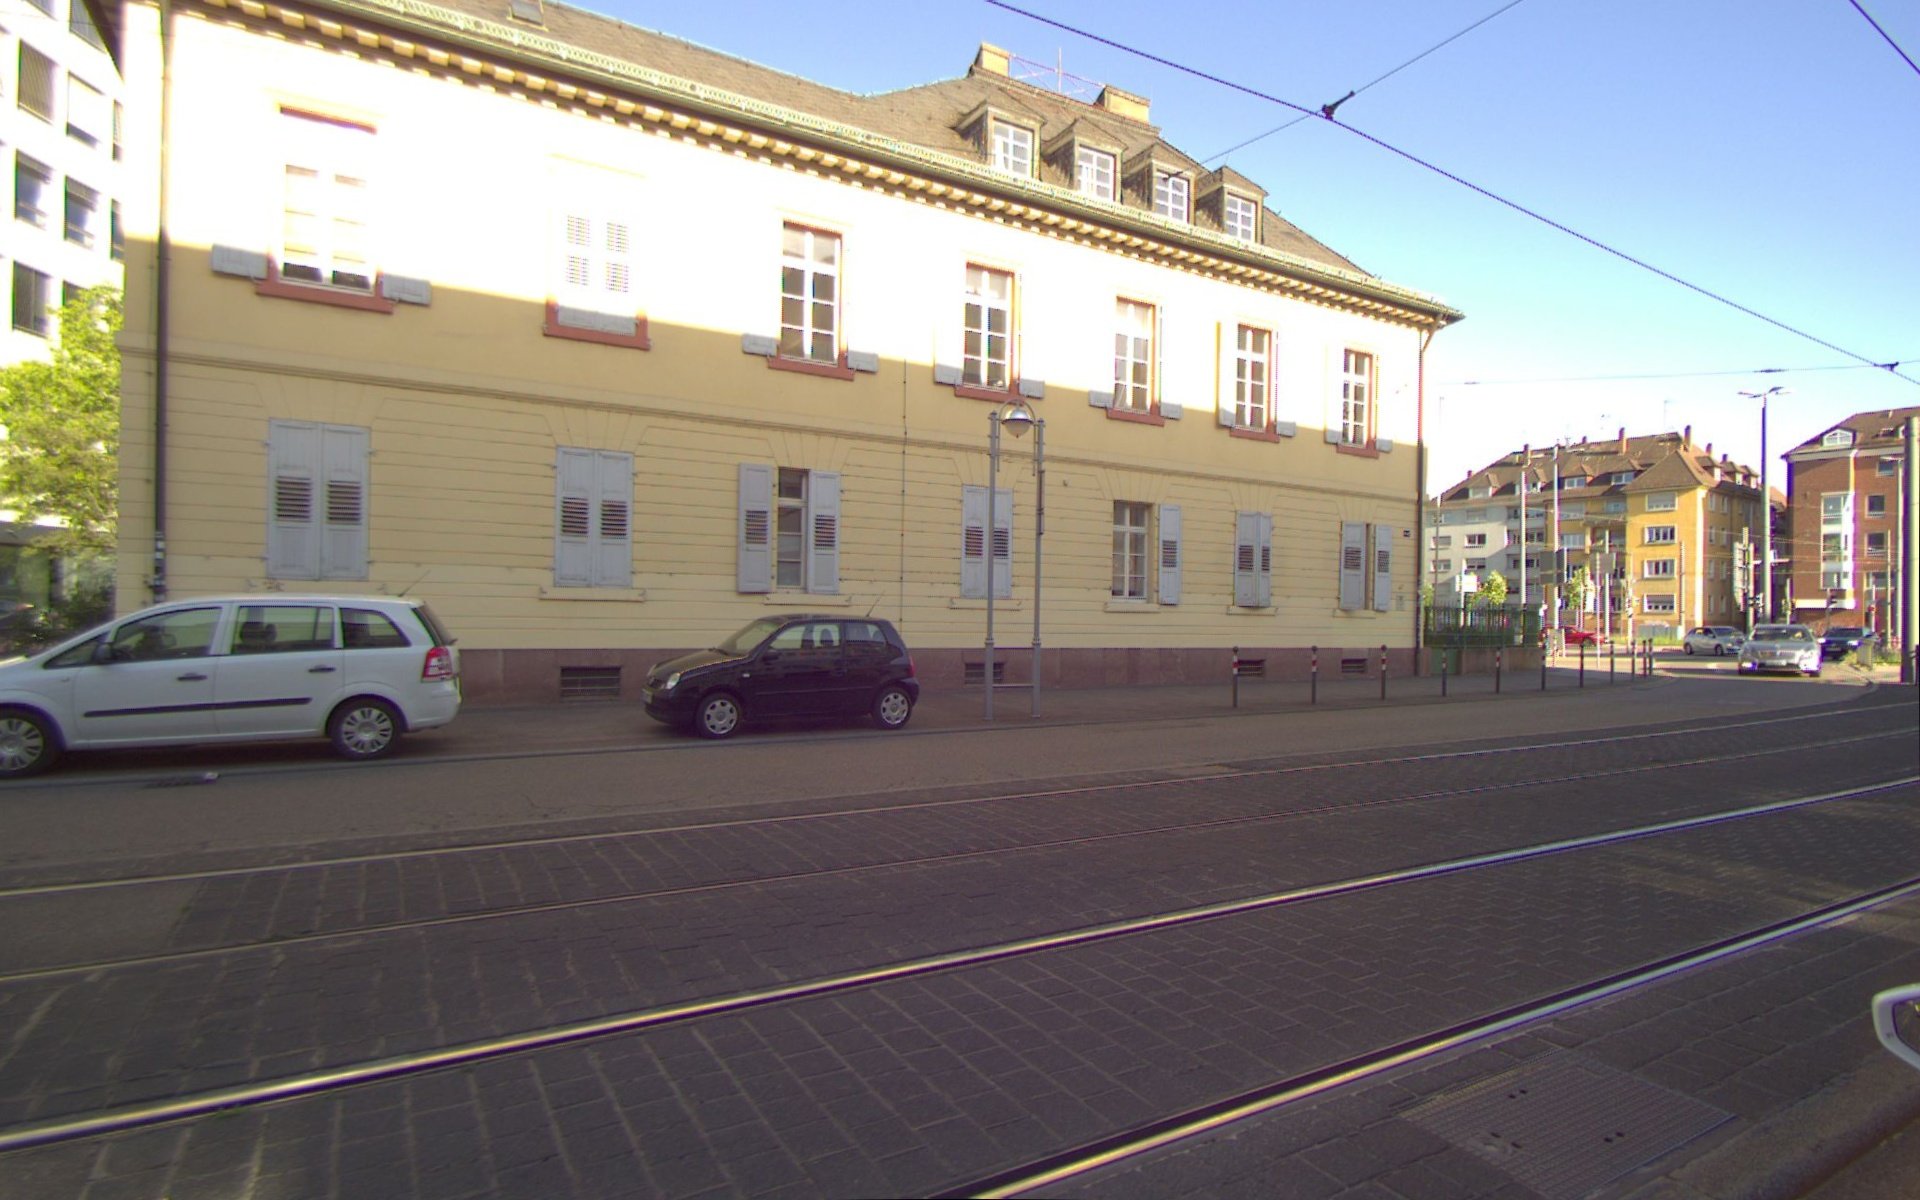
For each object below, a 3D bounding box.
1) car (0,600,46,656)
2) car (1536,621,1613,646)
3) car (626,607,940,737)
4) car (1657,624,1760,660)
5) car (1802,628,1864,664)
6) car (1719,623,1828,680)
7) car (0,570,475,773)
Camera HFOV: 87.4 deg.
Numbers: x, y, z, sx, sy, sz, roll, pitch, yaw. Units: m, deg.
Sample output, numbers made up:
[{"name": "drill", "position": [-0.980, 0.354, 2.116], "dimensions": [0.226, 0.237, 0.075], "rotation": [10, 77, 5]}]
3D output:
[{"name": "car", "position": [-26.065, 0.702, 25.814], "dimensions": [1.792, 1.439, 3.995], "rotation": [2, -1, -7]}, {"name": "car", "position": [42.789, 2.317, 70.005], "dimensions": [1.922, 1.510, 4.112], "rotation": [2, 0, -39]}, {"name": "car", "position": [-2.267, 0.875, 13.079], "dimensions": [3.677, 1.419, 1.606], "rotation": [2, 1, -31]}, {"name": "car", "position": [40.584, 2.239, 54.606], "dimensions": [1.781, 1.577, 4.603], "rotation": [2, 1, -6]}, {"name": "car", "position": [39.819, 2.078, 45.766], "dimensions": [4.250, 1.532, 1.747], "rotation": [2, -1, -44]}, {"name": "car", "position": [24.029, 1.468, 29.590], "dimensions": [4.895, 1.515, 1.863], "rotation": [2, -2, -43]}, {"name": "car", "position": [-7.453, 0.643, 10.065], "dimensions": [4.590, 1.708, 1.800], "rotation": [2, 1, -28]}]
